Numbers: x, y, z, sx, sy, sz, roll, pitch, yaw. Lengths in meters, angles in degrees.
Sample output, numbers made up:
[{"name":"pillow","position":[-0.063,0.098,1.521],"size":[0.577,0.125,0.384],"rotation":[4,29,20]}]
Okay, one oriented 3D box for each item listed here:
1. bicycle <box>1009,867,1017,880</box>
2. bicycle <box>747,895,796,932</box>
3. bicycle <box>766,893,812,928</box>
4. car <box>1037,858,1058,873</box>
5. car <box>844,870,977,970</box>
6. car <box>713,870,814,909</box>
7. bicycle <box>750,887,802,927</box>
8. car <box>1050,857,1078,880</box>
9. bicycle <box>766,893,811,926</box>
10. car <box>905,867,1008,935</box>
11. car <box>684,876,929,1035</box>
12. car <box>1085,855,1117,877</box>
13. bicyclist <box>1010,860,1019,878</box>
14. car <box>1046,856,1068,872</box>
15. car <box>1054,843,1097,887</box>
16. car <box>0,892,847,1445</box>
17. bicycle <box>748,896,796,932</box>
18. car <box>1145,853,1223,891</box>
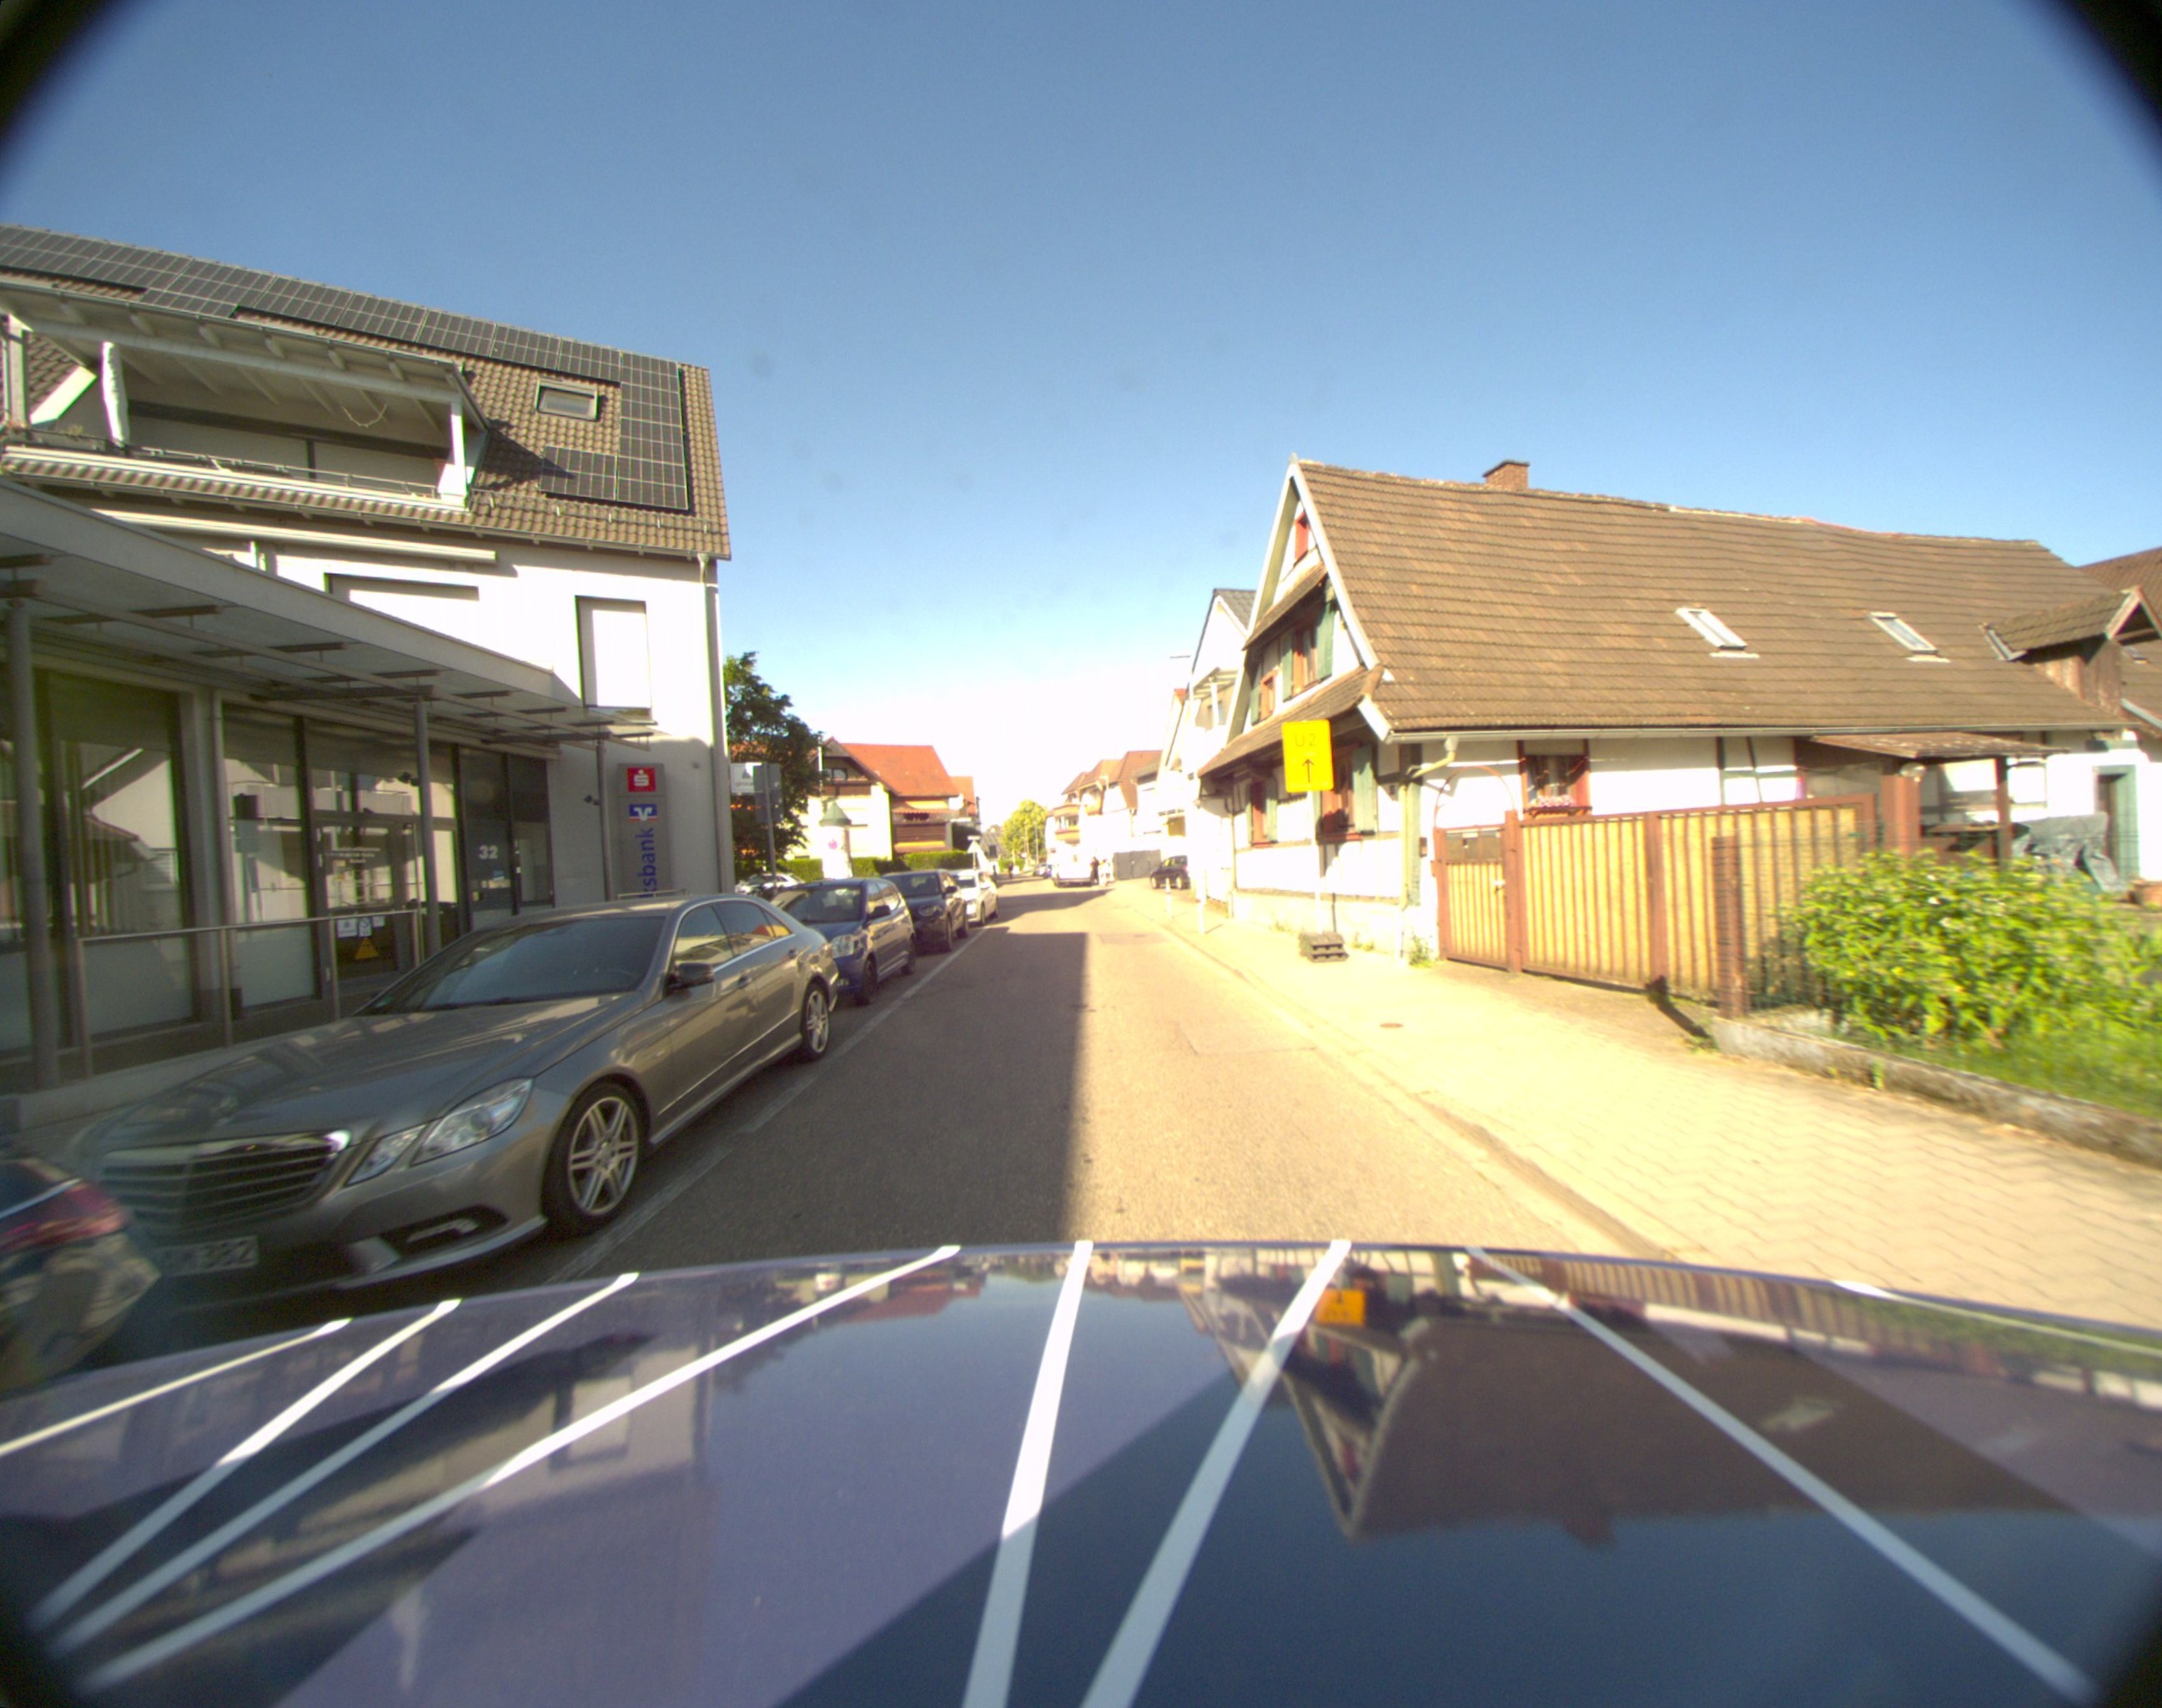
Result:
[{"name":"bicycle","position":[-6.491,1.836,72.555],"size":[0.640,1.175,2.021],"rotation":[-3,0,-2]},{"name":"bicycle","position":[-8.265,1.595,20.286],"size":[1.165,0.914,0.313],"rotation":[-3,0,7]},{"name":"bicycle","position":[-8.395,1.620,21.879],"size":[1.166,0.914,0.313],"rotation":[-3,0,-3]},{"name":"car","position":[-3.622,1.211,82.129],"size":[1.764,1.547,3.997],"rotation":[-3,0,-9]},{"name":"car","position":[-3.163,1.165,14.906],"size":[1.614,1.512,3.971],"rotation":[-5,0,0]},{"name":"car","position":[-15.549,1.707,37.433],"size":[4.307,1.584,1.812],"rotation":[-2,1,-16]},{"name":"bicycle","position":[-7.785,1.345,19.413],"size":[1.224,0.970,0.320],"rotation":[-3,0,12]},{"name":"car","position":[-1.365,1.111,58.682],"size":[1.728,1.609,4.110],"rotation":[-3,0,-6]},{"name":"bicycle","position":[-8.625,1.632,22.445],"size":[1.166,0.914,0.313],"rotation":[-3,0,-3]},{"name":"car","position":[-3.240,1.169,20.700],"size":[1.850,1.505,4.507],"rotation":[-3,0,2]},{"name":"car","position":[-3.302,1.131,10.011],"size":[1.730,1.466,3.875],"rotation":[-5,0,0]},{"name":"car","position":[1.566,0.924,60.110],"size":[1.647,1.577,4.109],"rotation":[-3,0,-10]},{"name":"bicyclist","position":[-6.379,1.439,72.868],"size":[0.643,1.655,0.605],"rotation":[-3,0,-2]},{"name":"car","position":[-2.345,0.948,73.394],"size":[1.623,1.430,3.954],"rotation":[-3,0,-7]},{"name":"car","position":[-0.402,0.637,46.464],"size":[2.259,2.456,5.514],"rotation":[-3,0,-3]},{"name":"car","position":[-3.079,1.141,4.664],"size":[1.813,1.466,4.444],"rotation":[-5,0,0]},{"name":"bicycle","position":[-8.433,1.642,20.729],"size":[1.165,0.914,0.313],"rotation":[-3,0,7]},{"name":"car","position":[4.421,0.781,33.154],"size":[1.695,1.437,4.171],"rotation":[-4,0,-17]}]
